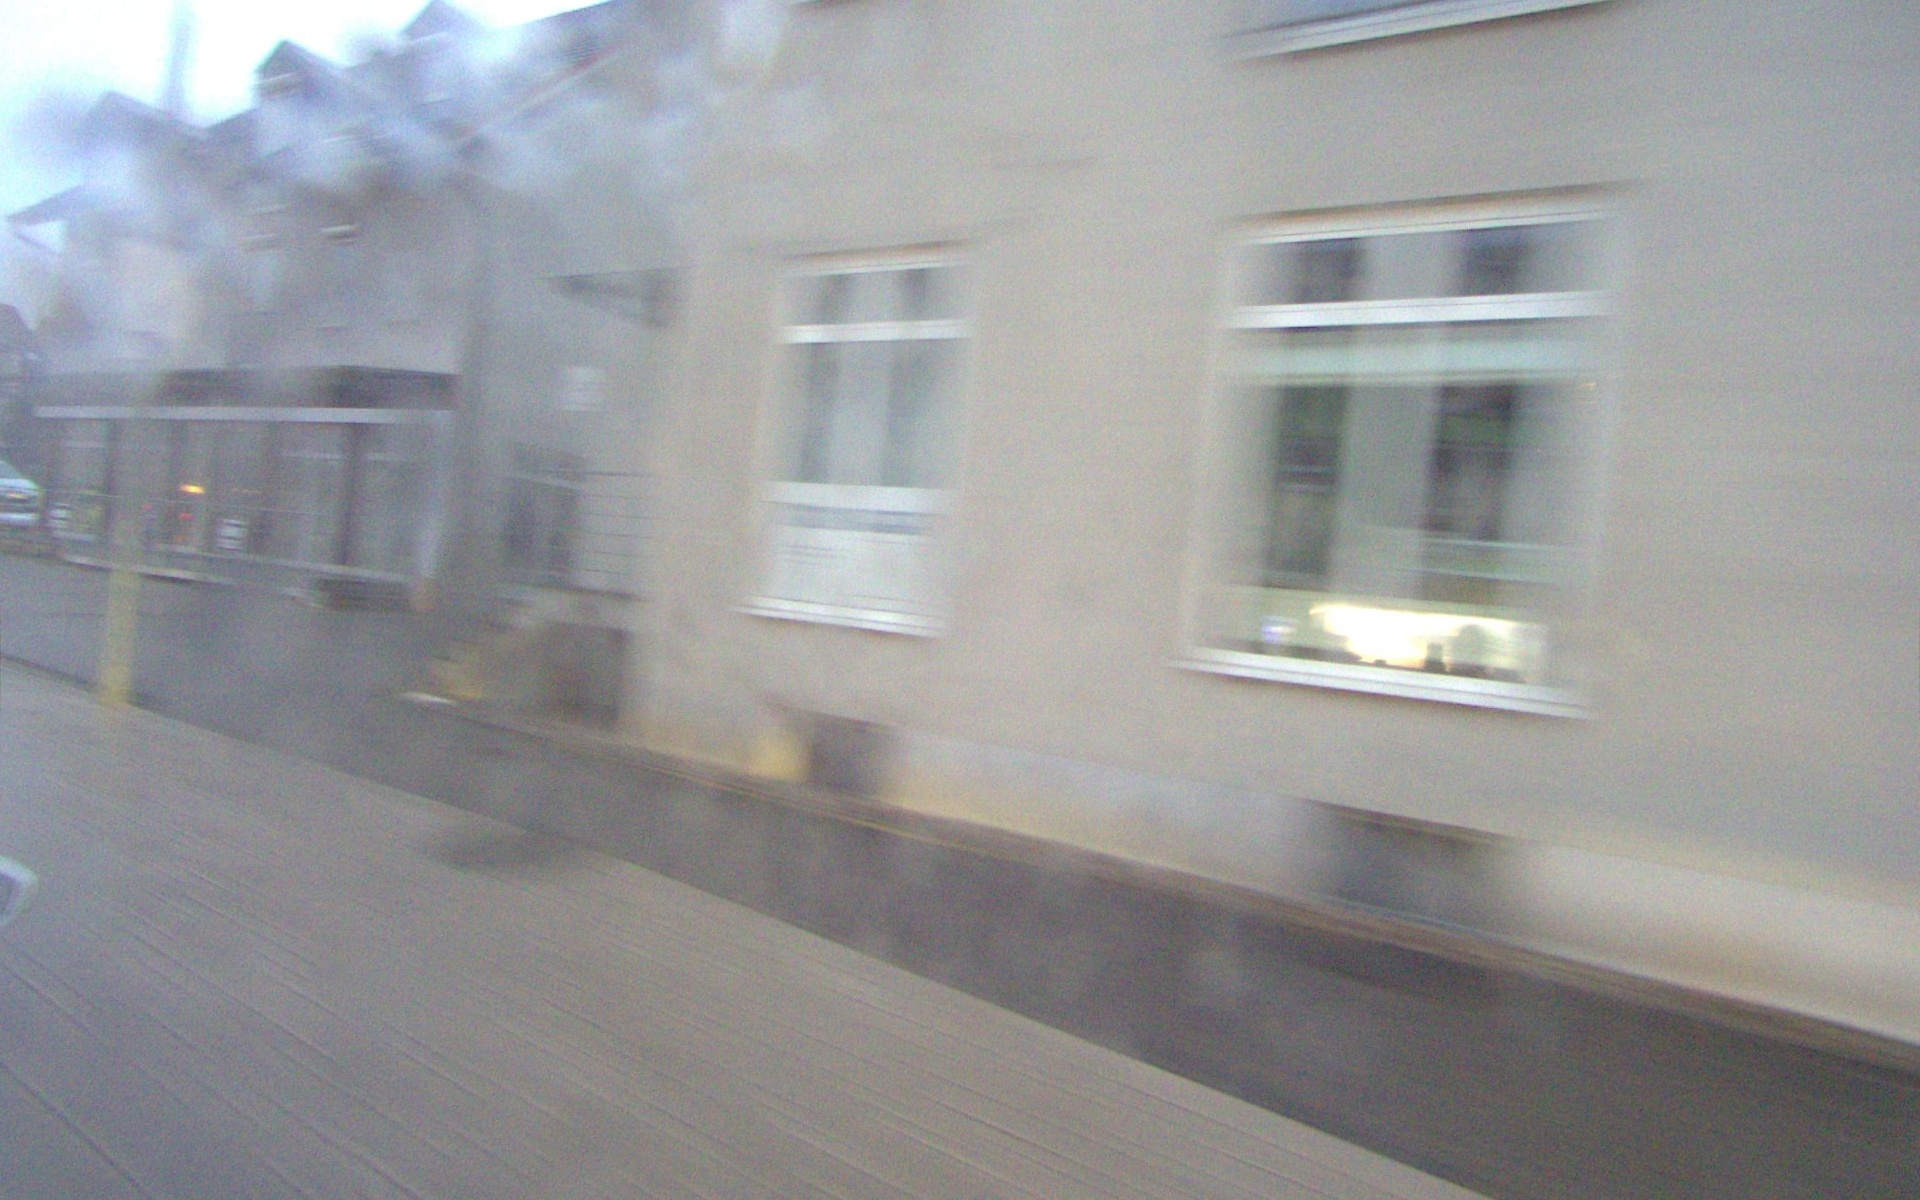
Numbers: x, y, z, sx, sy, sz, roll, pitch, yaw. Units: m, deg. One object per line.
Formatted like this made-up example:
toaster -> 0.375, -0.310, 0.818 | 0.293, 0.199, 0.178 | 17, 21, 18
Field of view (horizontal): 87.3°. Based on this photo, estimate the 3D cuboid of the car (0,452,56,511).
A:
car -> -29.458, -3.673, 30.238 | 3.926, 1.577, 1.789 | 7, 6, 21

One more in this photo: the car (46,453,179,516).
car -> -28.094, -3.825, 33.357 | 3.929, 1.629, 1.994 | 8, 4, 27
